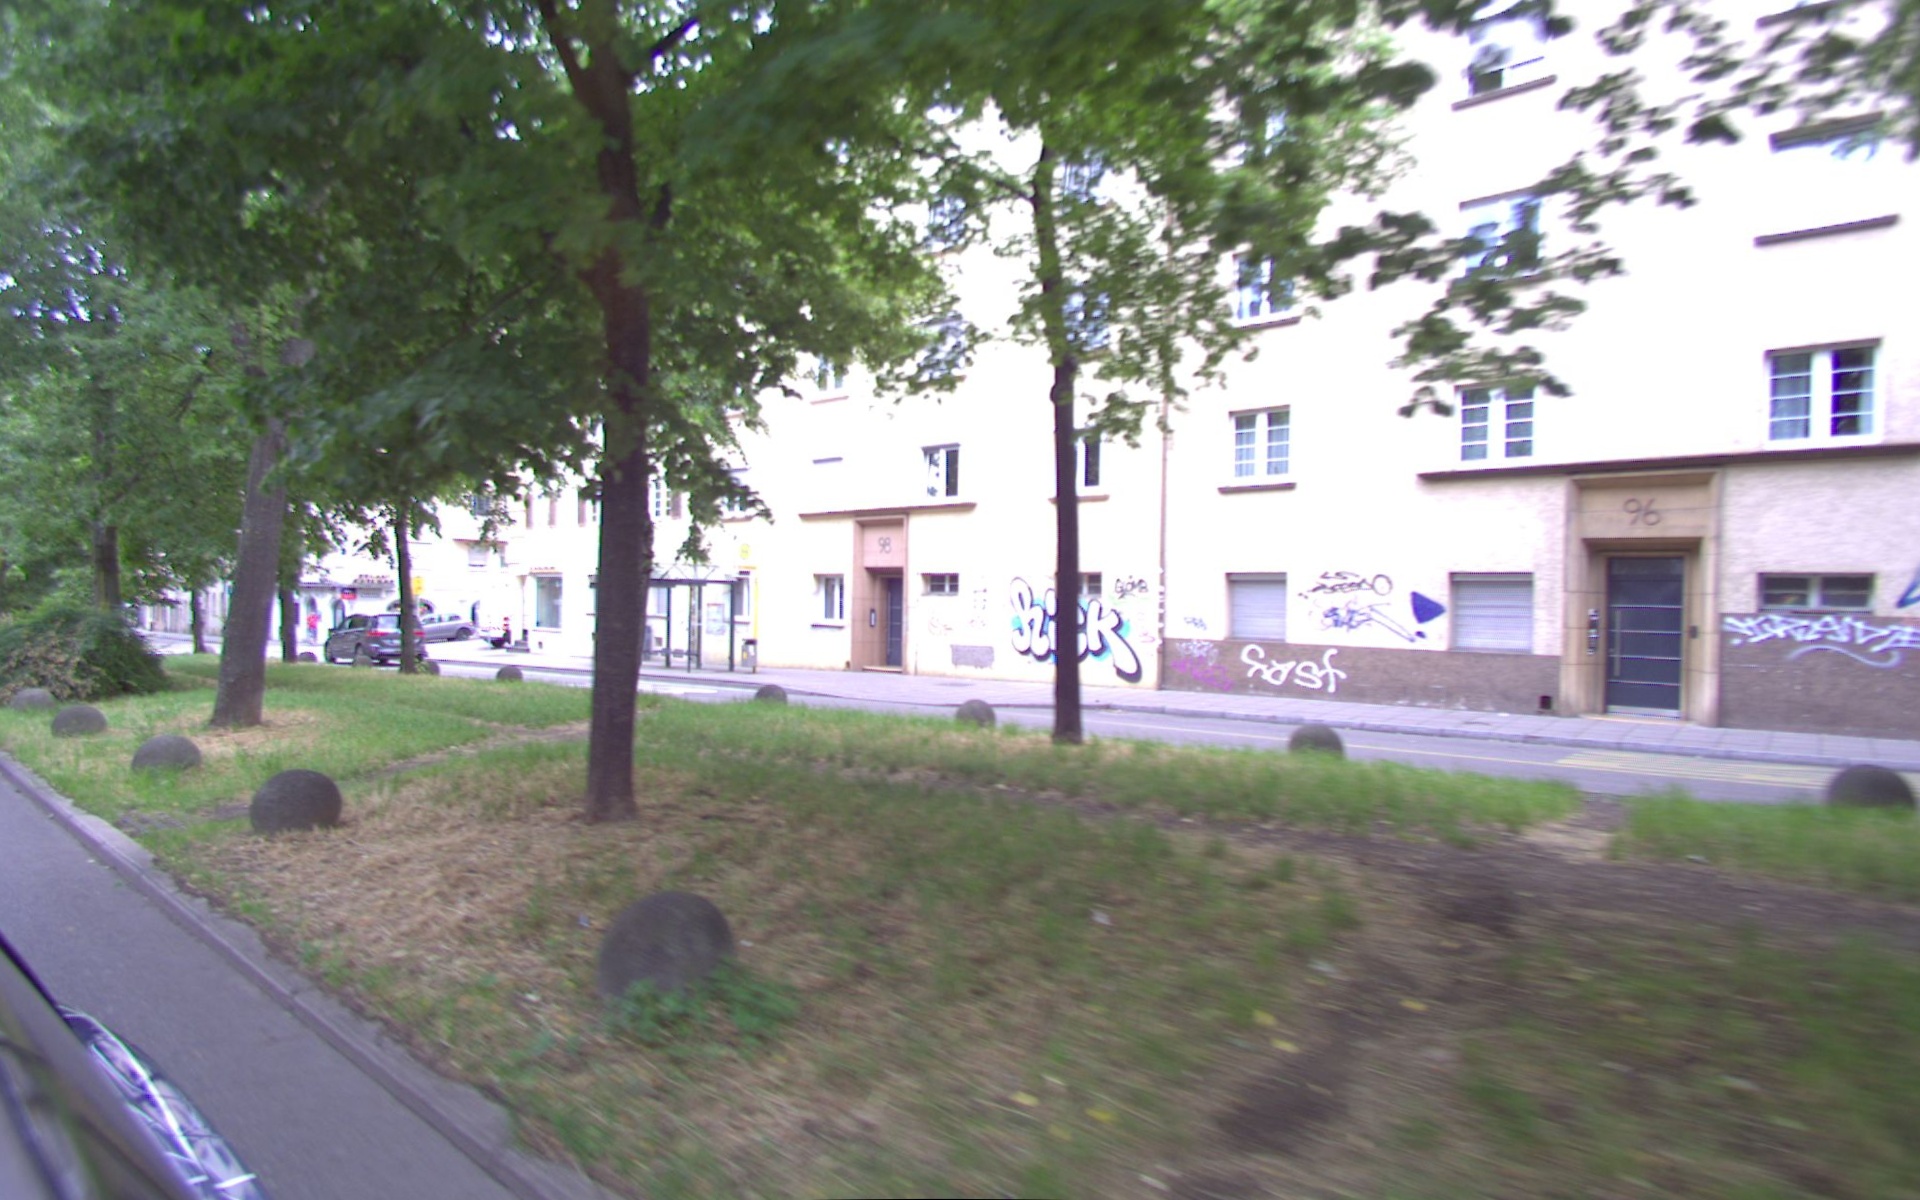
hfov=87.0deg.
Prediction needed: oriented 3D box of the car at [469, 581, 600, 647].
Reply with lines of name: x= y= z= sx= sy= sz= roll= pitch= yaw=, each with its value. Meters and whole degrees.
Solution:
car: x=-18.795 y=0.604 z=44.957 sx=2.168 sy=2.757 sz=5.136 roll=-1 pitch=0 yaw=30

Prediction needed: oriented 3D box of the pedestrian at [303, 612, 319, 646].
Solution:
pedestrian: x=-31.732 y=1.410 z=49.482 sx=0.701 sy=1.679 sz=0.526 roll=-2 pitch=-2 yaw=44

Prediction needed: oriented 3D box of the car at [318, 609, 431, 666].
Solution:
car: x=-18.242 y=1.152 z=31.464 sx=4.365 sy=1.641 sz=1.927 roll=-2 pitch=-2 yaw=44

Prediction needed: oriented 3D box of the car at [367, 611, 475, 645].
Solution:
car: x=-26.424 y=1.356 z=49.695 sx=2.048 sy=1.431 sz=4.241 roll=-2 pitch=0 yaw=43
